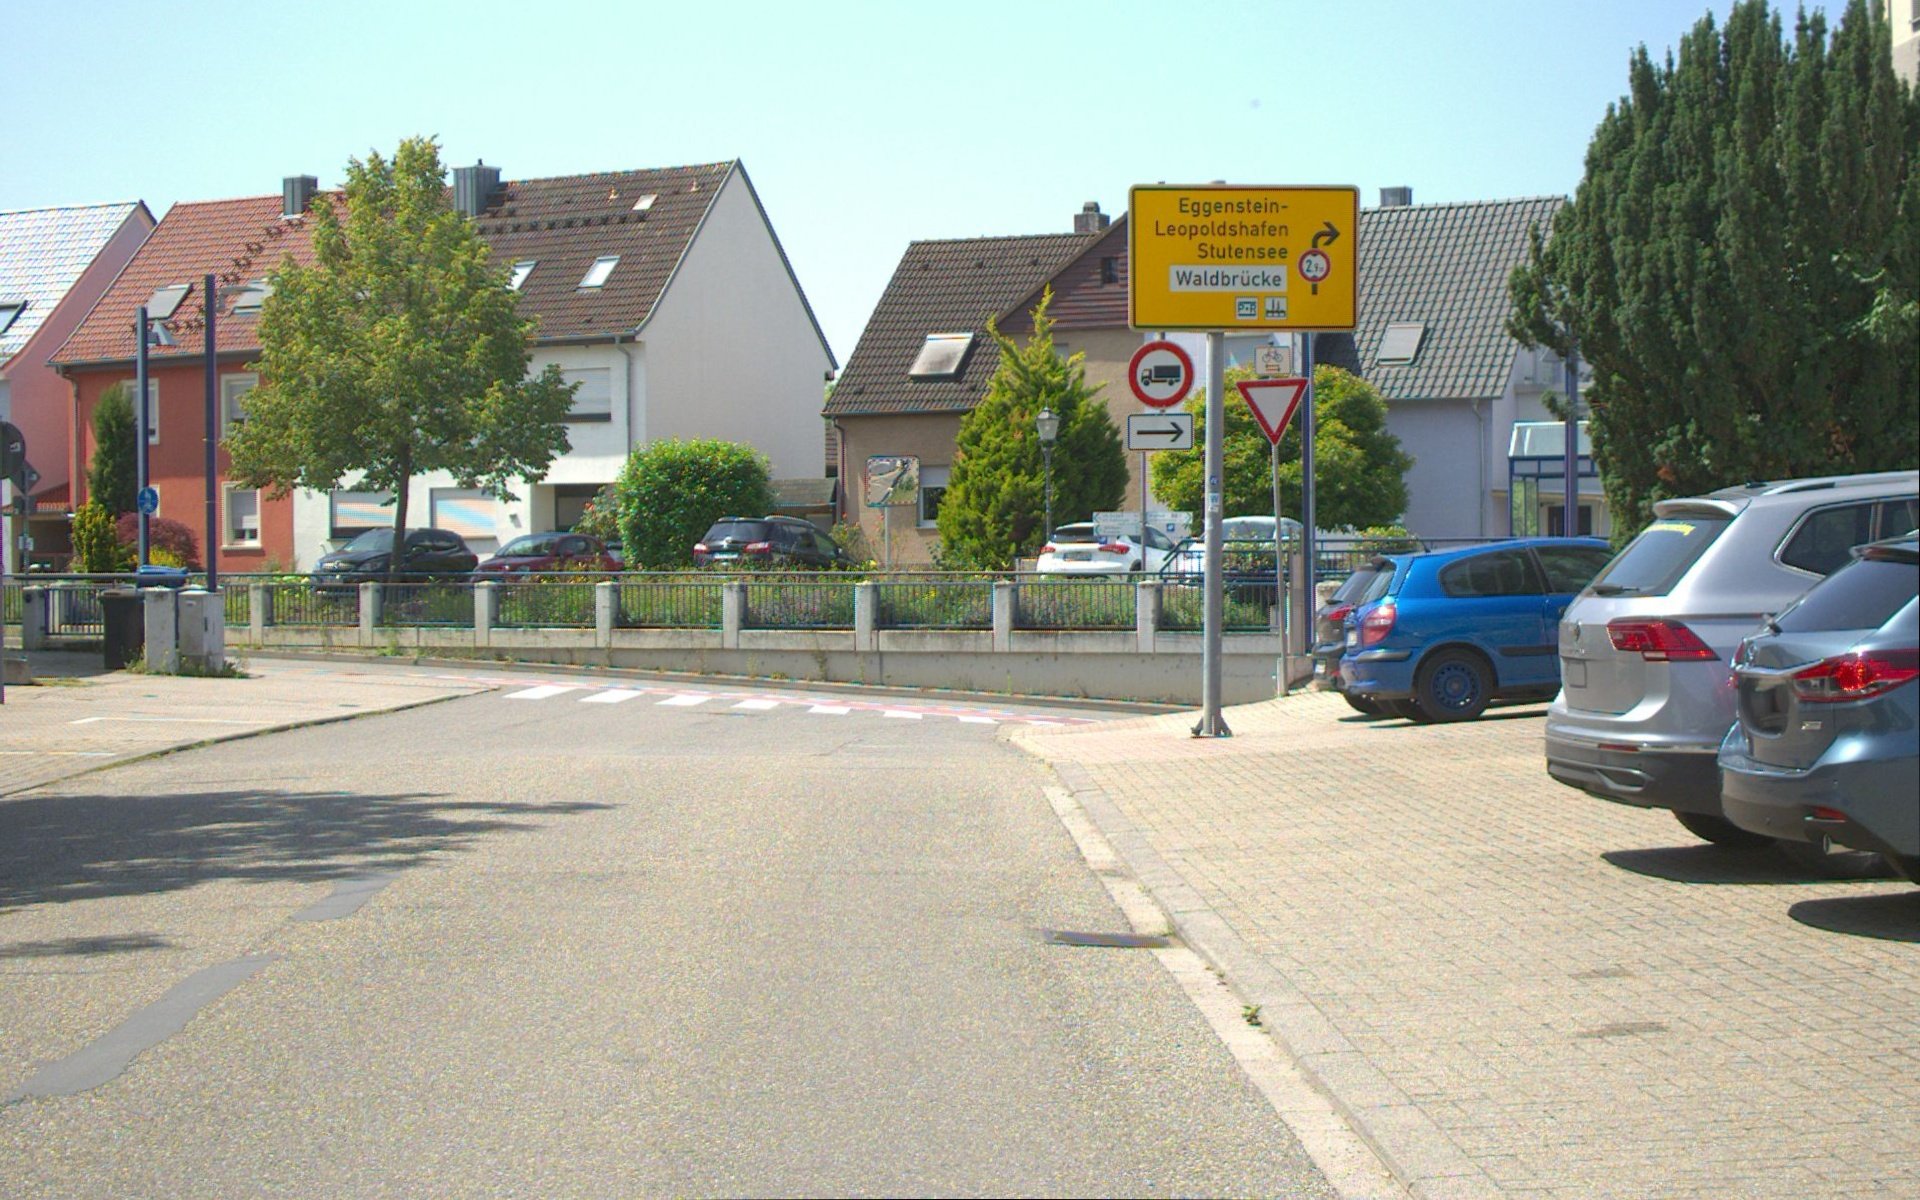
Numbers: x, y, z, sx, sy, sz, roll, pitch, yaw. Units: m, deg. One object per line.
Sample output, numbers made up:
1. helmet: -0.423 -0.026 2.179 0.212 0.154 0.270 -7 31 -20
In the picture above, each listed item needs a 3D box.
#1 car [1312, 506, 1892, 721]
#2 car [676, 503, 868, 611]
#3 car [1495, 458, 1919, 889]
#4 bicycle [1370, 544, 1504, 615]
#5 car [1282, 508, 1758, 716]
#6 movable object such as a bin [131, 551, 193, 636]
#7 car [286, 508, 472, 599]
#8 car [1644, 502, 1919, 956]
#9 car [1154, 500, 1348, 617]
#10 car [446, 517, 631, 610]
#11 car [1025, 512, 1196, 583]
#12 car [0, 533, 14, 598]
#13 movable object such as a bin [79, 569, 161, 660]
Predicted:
1. car: 5.235 0.131 28.391 4.322 1.435 1.780 -4 -2 -3
2. car: -3.525 -0.794 65.158 1.870 1.791 3.994 4 0 25
3. car: 4.770 0.220 14.970 4.452 1.691 1.923 -2 1 -4
4. bicycle: 7.774 -0.343 56.057 2.117 1.122 0.333 1 1 19
5. car: 5.105 0.113 31.656 3.894 1.485 1.810 -6 0 -4
6. movable object such as a bin: -11.674 -0.099 50.287 0.839 1.209 1.277 1 0 -14
7. car: -11.577 -0.908 68.742 1.870 1.581 3.605 4 0 25
8. car: 5.026 0.342 12.704 4.500 1.514 2.000 -2 1 -2
9. car: 5.175 -0.707 60.669 1.996 1.791 4.191 4 0 25
10. car: -8.182 -0.699 67.026 1.870 1.581 3.605 4 0 25
11. car: 2.730 -0.931 61.688 1.827 1.016 3.454 4 0 25
12. car: -23.637 -0.906 77.676 1.745 1.483 4.248 4 0 31
13. movable object such as a bin: -11.465 0.192 46.926 0.885 1.221 0.902 1 0 0
